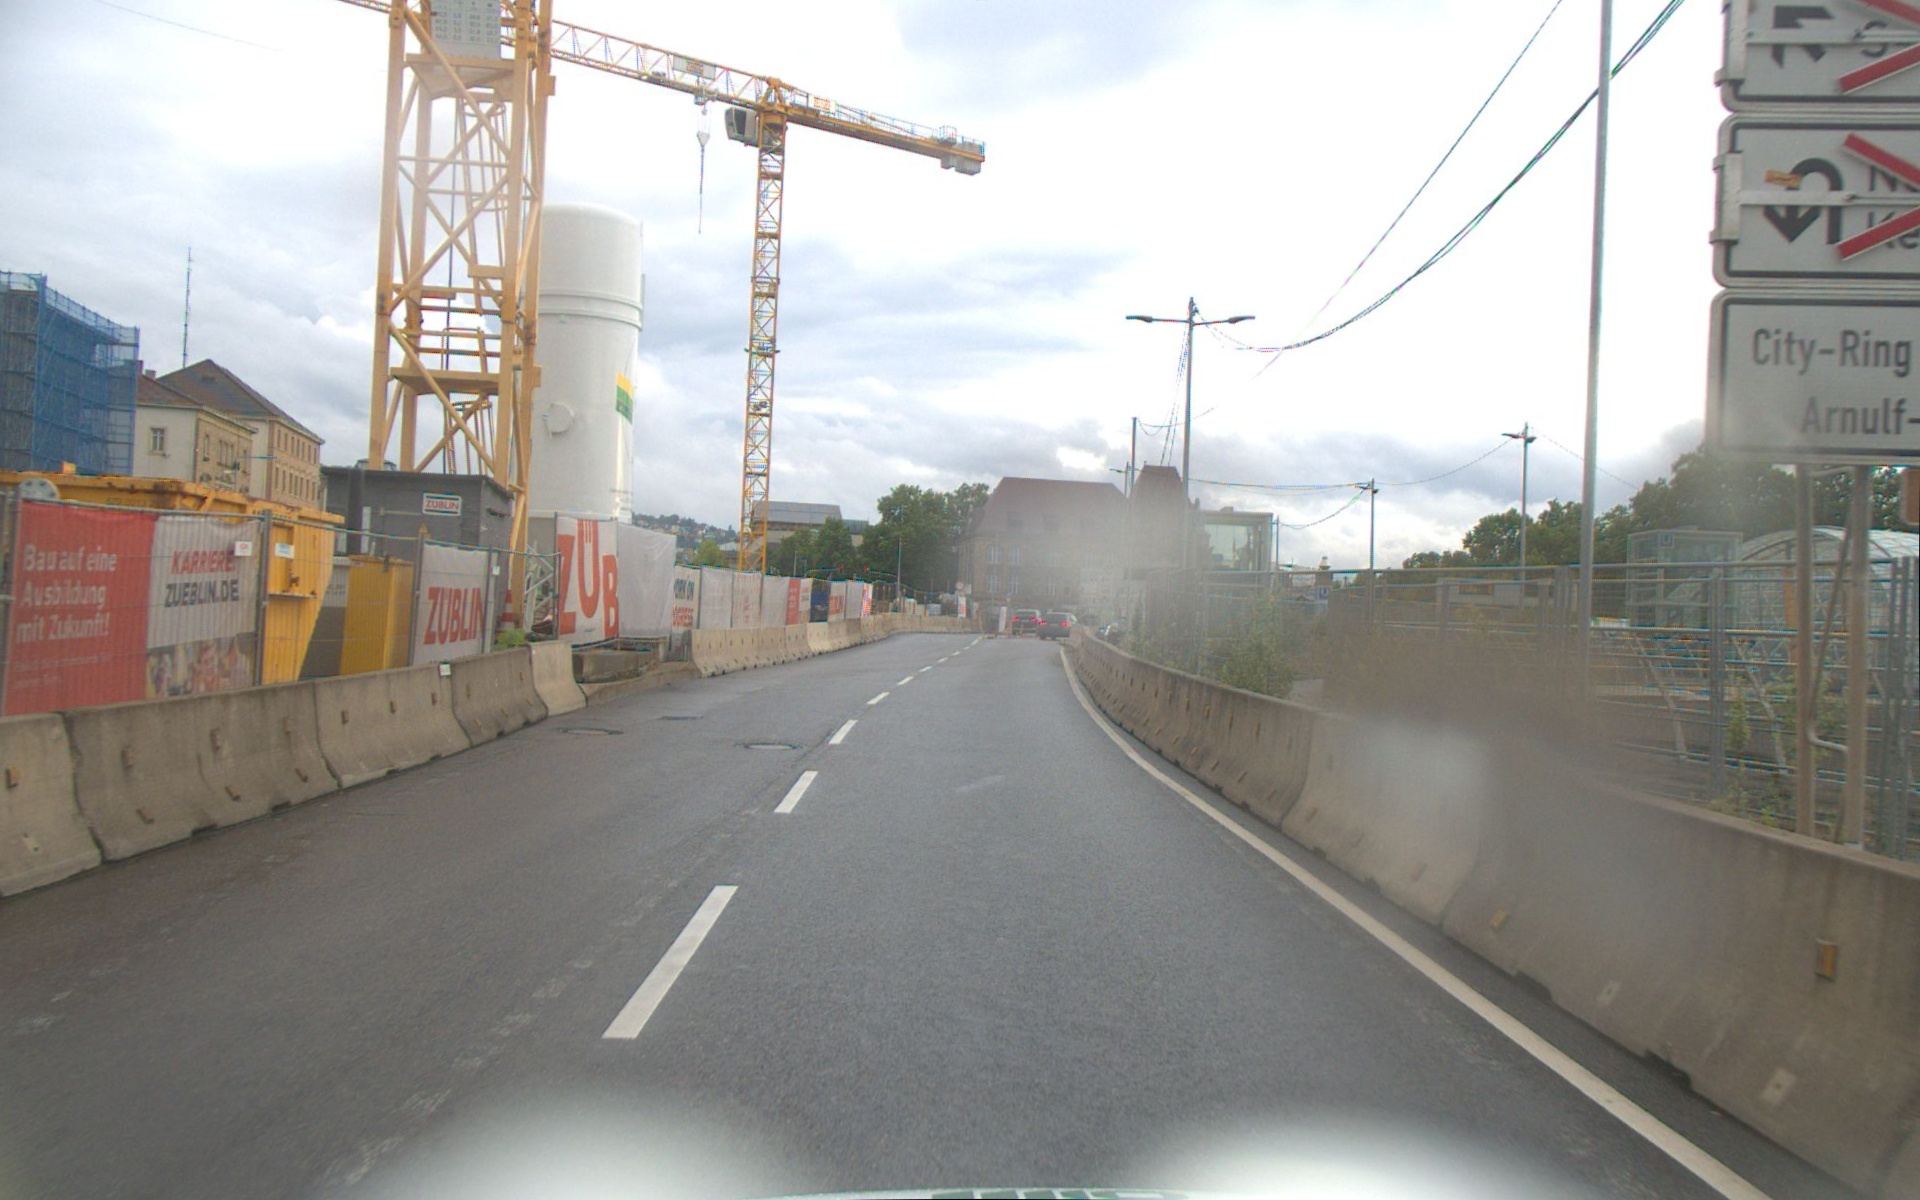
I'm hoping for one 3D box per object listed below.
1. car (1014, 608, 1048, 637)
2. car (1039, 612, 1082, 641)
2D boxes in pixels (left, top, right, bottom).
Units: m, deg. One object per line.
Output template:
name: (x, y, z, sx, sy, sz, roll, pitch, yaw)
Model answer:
car: (4.542, 1.414, 105.290, 1.823, 1.689, 4.659, 3, 0, 6)
car: (5.361, 1.436, 88.034, 1.823, 1.458, 4.659, 1, -2, 9)
